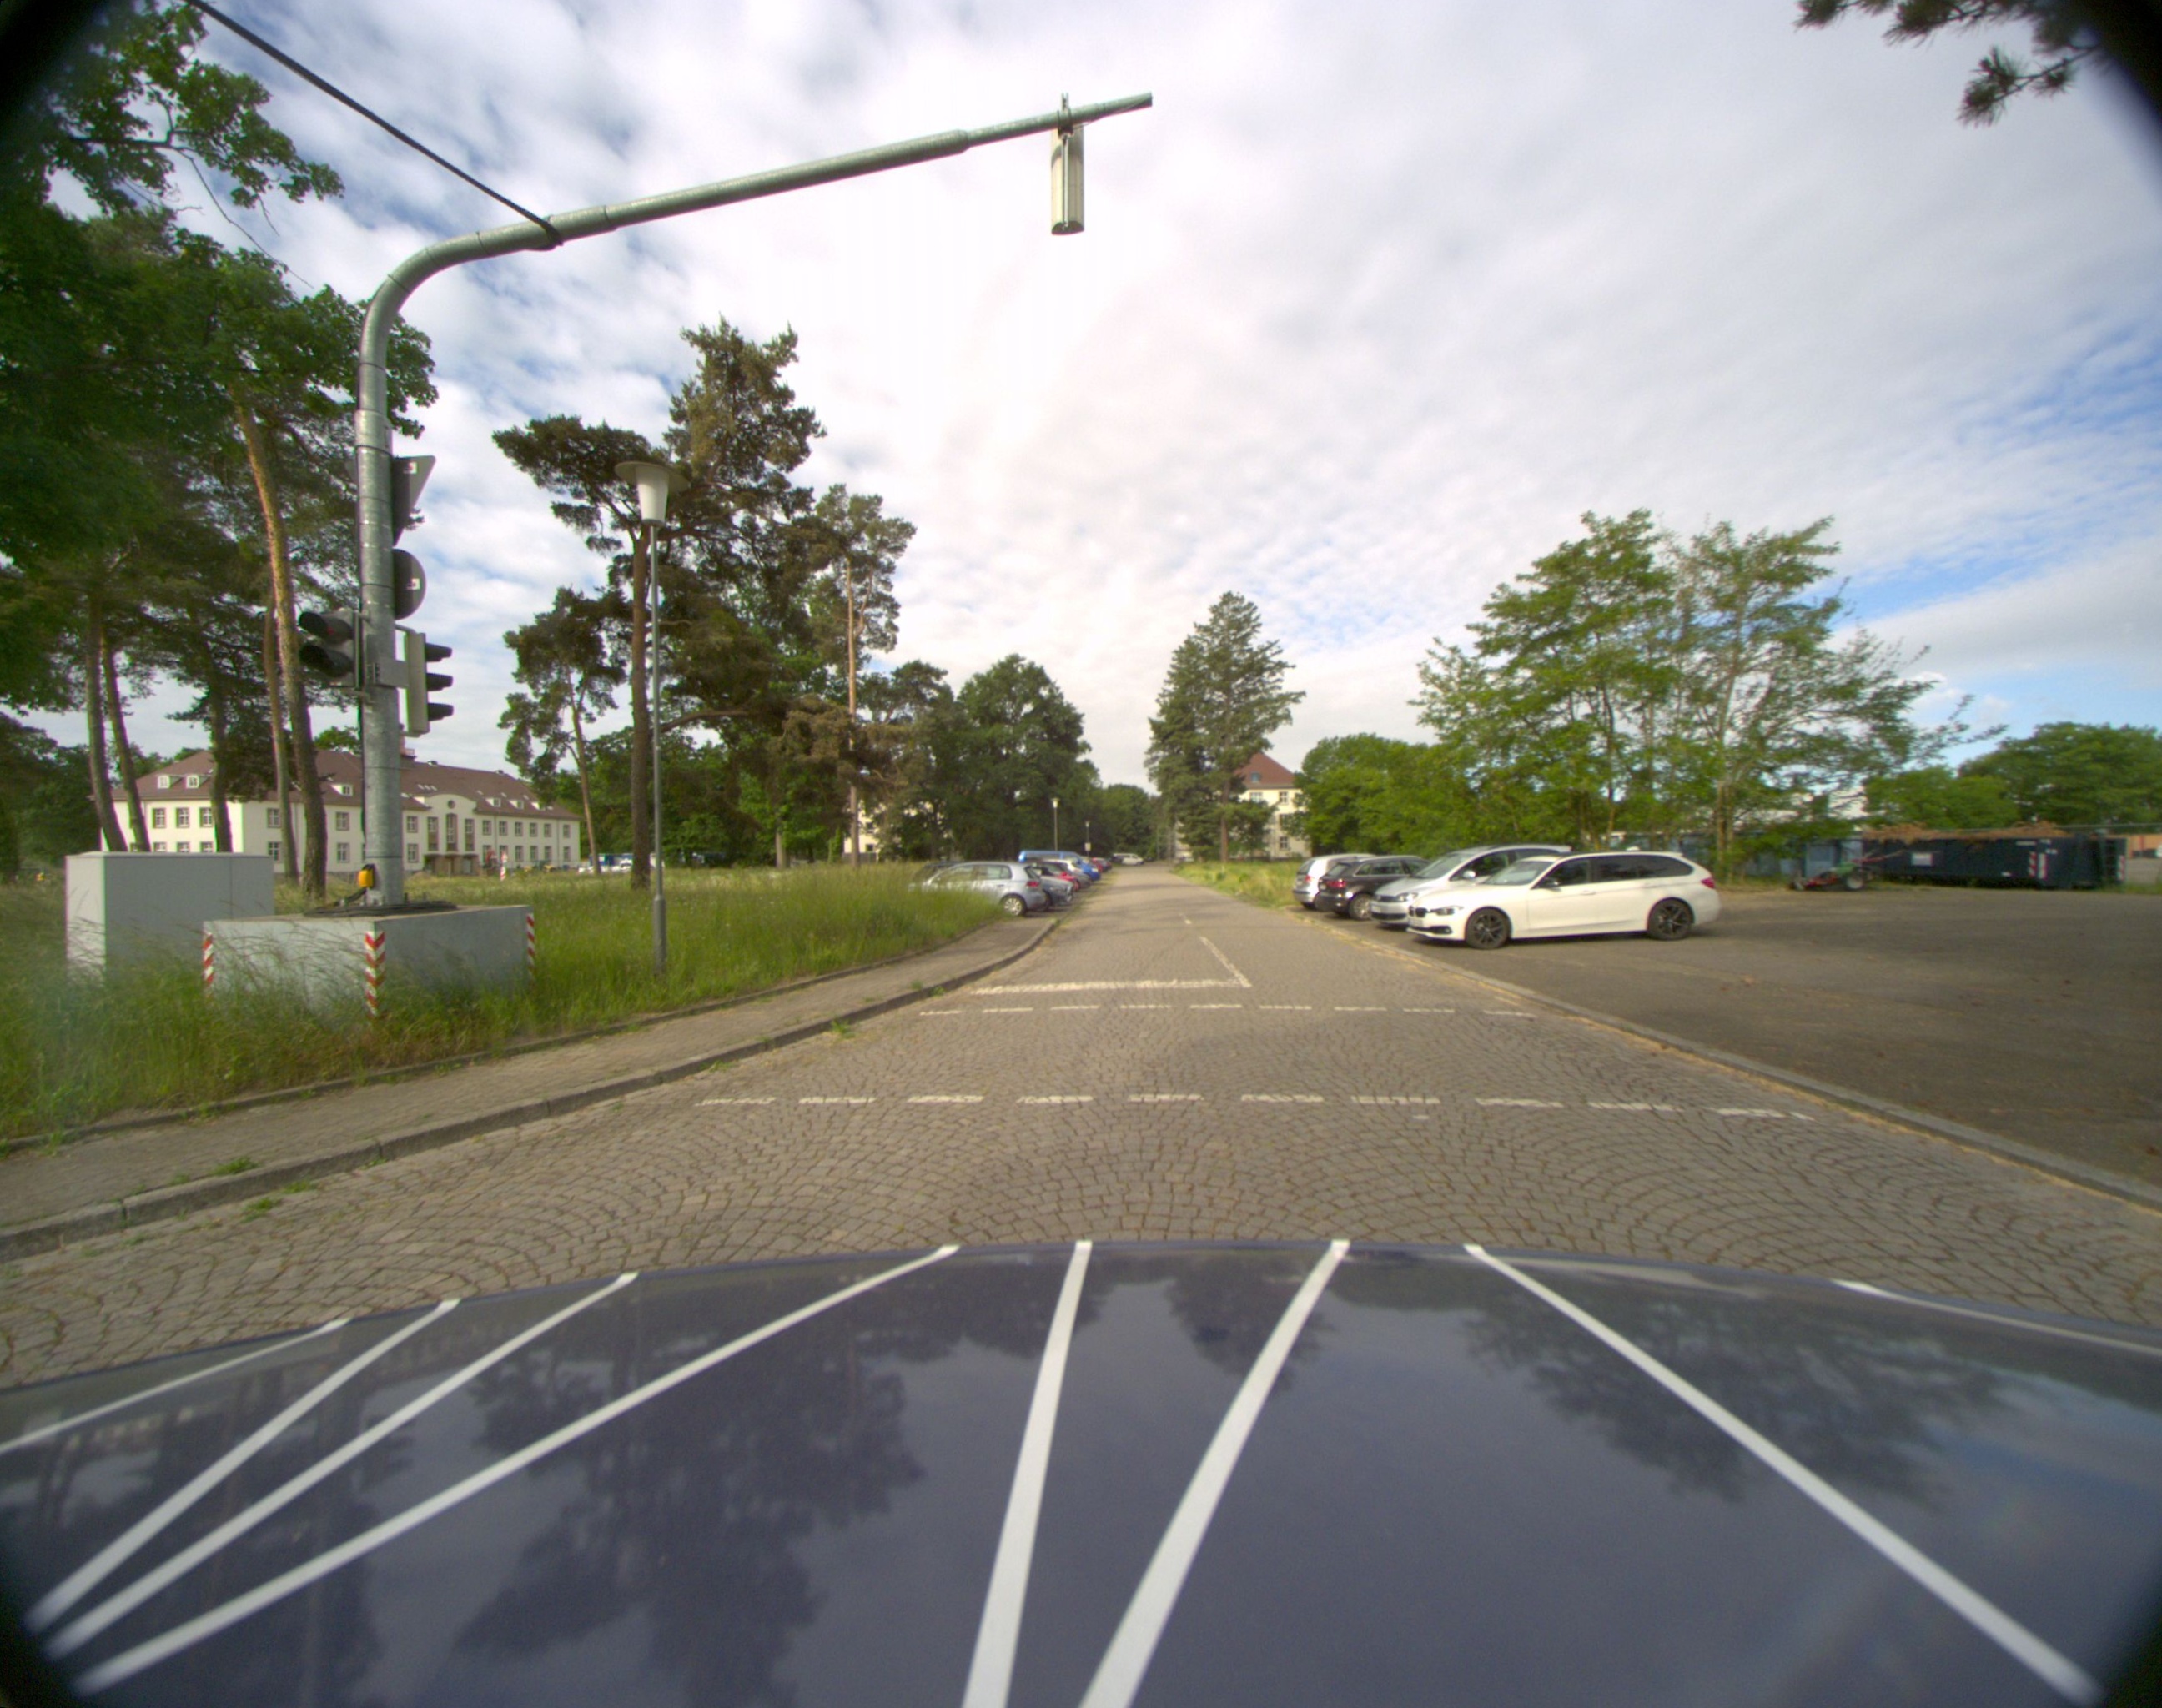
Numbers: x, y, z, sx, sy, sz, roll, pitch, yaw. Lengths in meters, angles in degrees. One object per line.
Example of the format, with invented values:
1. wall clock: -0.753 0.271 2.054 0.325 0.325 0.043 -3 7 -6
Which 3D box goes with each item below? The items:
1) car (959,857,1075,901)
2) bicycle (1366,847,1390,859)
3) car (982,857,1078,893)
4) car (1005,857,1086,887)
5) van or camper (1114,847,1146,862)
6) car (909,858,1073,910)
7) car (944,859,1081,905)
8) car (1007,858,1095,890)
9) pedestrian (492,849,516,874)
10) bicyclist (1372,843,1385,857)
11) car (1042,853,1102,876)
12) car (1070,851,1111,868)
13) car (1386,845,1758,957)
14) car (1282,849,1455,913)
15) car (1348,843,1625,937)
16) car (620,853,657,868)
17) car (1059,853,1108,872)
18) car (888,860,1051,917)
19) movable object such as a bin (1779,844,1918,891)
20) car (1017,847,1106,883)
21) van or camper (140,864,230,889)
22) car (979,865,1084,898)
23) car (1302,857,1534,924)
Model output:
1. car: -2.303 0.902 27.911 3.931 1.504 1.797 -1 1 7
2. bicycle: 38.231 -0.083 97.772 2.672 1.496 1.273 -1 1 9
3. car: -2.165 0.896 32.948 3.931 1.467 1.797 -1 1 5
4. car: -1.769 0.878 38.629 3.931 1.441 1.797 -1 1 4
5. van or camper: 8.102 0.058 126.576 5.246 2.449 2.209 -1 1 2
6. car: -2.621 0.870 22.878 4.628 1.437 1.797 -1 1 4
7. car: -2.245 0.934 25.582 4.264 1.437 1.797 -1 1 7
8. car: -1.362 0.935 35.653 3.931 1.427 1.797 -1 1 4
9. pedestrian: -50.003 0.665 65.868 1.184 2.165 1.056 -1 1 4
10. bicyclist: 38.233 -0.539 97.792 1.318 1.857 1.250 -1 1 9
11. car: -0.602 0.702 52.862 3.995 1.496 1.870 -1 1 6
12. car: 0.964 0.548 73.415 3.789 1.560 2.001 -1 1 5
13. car: 7.865 0.720 12.557 4.817 1.431 1.913 -3 0 2
14. car: 7.692 0.705 20.556 3.984 1.447 1.680 -3 1 0
15. car: 7.929 0.674 15.165 4.484 1.580 1.847 -2 1 0
16. car: -60.930 0.874 104.684 2.165 2.002 4.835 -1 0 2
17. car: 0.194 0.693 63.130 3.997 1.560 2.000 -1 1 1
18. car: -2.898 0.899 20.297 3.995 1.410 1.797 -1 1 5
19. movable object such as a bin: 20.950 0.363 20.792 2.536 1.205 1.170 -1 1 3
20. car: -1.072 0.644 43.937 4.838 2.002 2.001 -1 1 8
21. van or camper: -89.710 2.225 76.115 6.122 2.293 2.465 -1 1 2
22. car: -1.945 1.077 30.378 3.931 1.227 1.797 -1 0 5
23. car: 7.780 0.821 17.878 4.631 1.414 1.885 -1 1 1
